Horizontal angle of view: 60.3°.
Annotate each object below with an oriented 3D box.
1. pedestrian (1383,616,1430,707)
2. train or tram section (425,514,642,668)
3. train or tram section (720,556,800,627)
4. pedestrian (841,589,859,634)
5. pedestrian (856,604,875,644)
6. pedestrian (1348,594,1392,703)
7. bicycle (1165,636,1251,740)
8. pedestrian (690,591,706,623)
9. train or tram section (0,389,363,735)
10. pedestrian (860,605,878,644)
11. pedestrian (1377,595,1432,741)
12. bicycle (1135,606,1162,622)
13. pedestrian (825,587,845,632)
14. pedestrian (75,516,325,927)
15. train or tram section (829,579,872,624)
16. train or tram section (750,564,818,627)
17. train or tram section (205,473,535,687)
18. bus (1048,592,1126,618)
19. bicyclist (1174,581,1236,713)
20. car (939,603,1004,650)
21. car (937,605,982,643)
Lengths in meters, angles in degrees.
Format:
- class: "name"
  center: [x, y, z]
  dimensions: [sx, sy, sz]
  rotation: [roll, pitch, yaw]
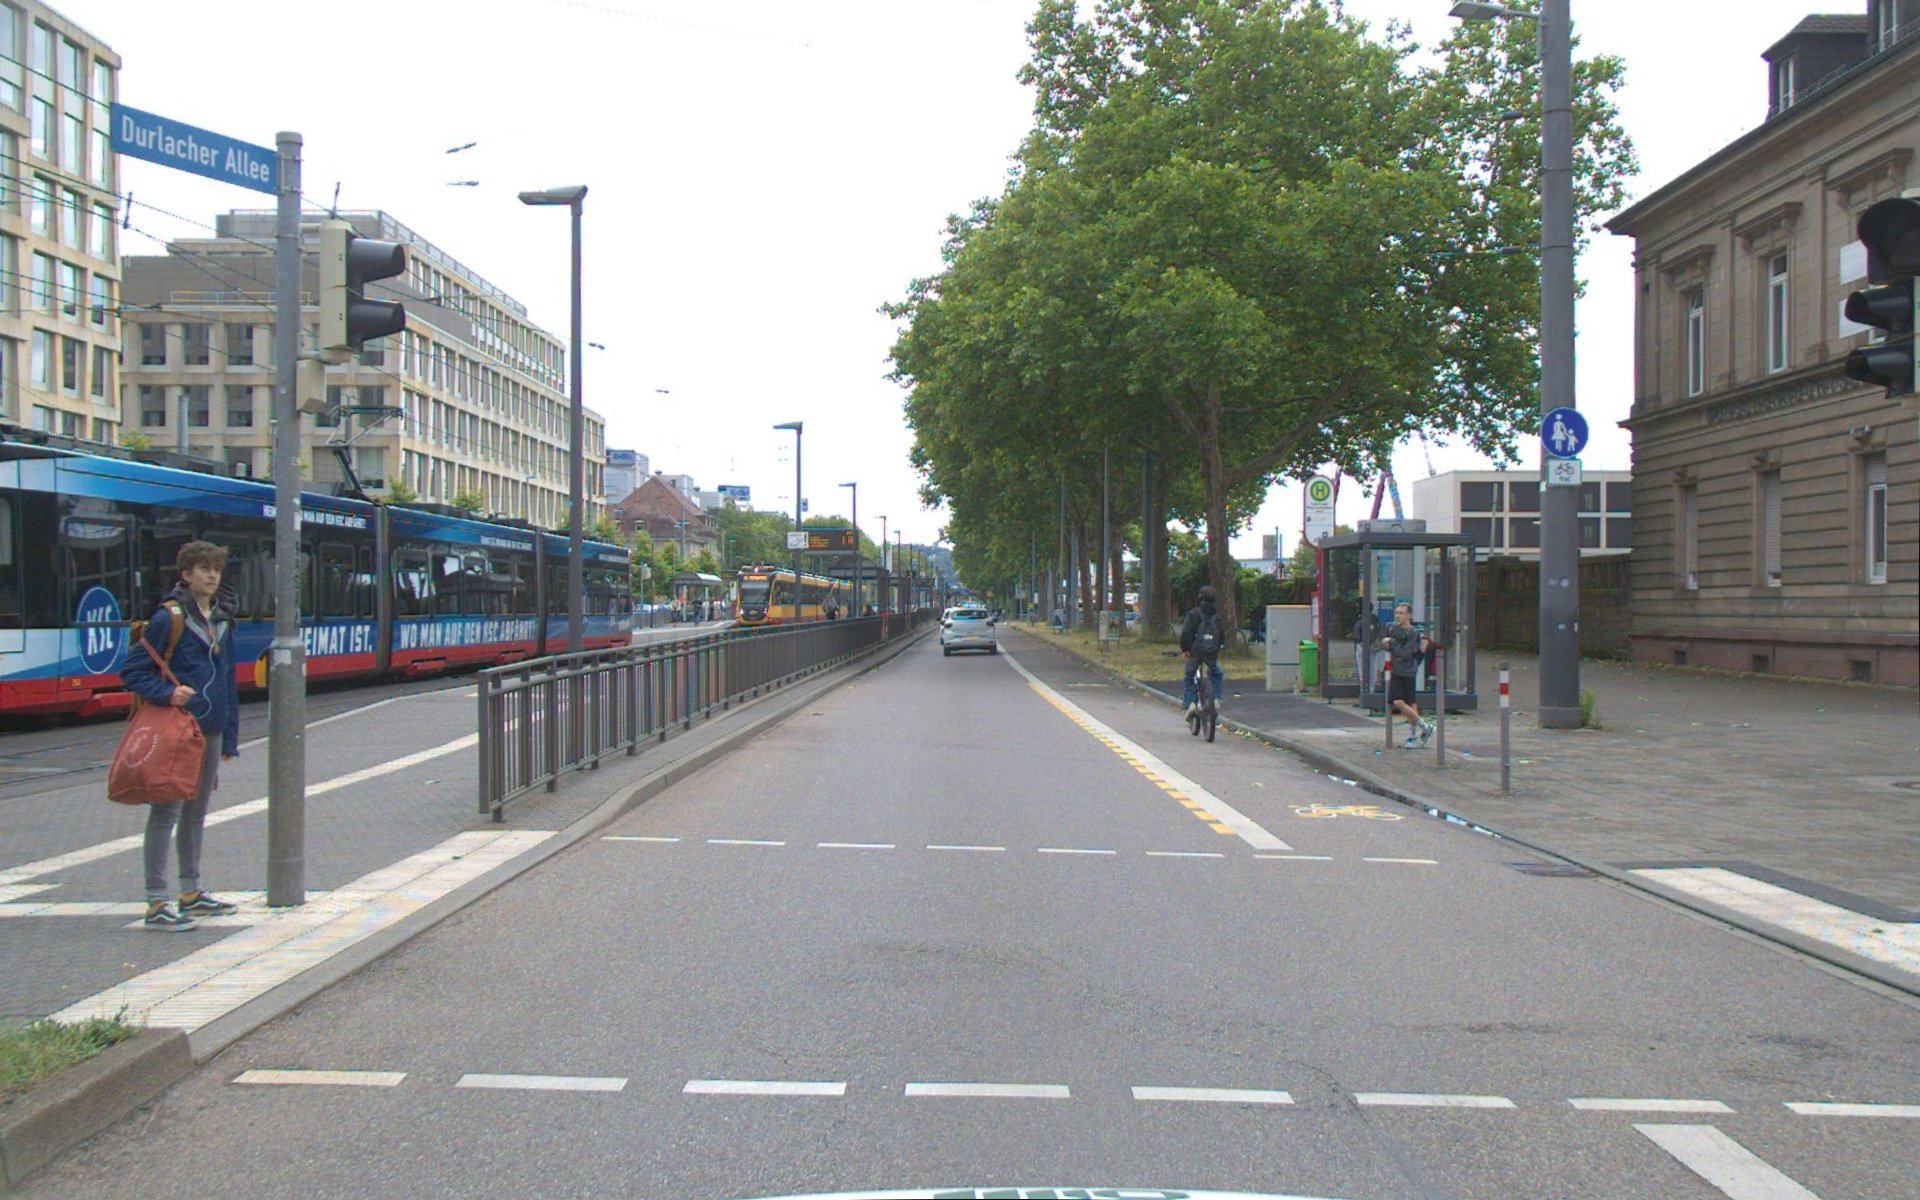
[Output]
- class: "pedestrian"
  center: [6.253, 0.852, 23.178]
  dimensions: [0.467, 1.255, 0.702]
  rotation: [0, -1, 0]
- class: "train or tram section"
  center: [-11.709, -0.114, 47.146]
  dimensions: [2.796, 3.757, 13.518]
  rotation: [0, -1, -1]
- class: "train or tram section"
  center: [-11.584, -0.391, 96.815]
  dimensions: [3.171, 3.930, 11.311]
  rotation: [0, -1, 1]
- class: "pedestrian"
  center: [-4.555, 0.466, 68.236]
  dimensions: [0.657, 1.825, 1.111]
  rotation: [0, -1, -8]
- class: "pedestrian"
  center: [-3.289, 0.839, 57.457]
  dimensions: [0.598, 1.364, 0.600]
  rotation: [0, -1, 1]
- class: "pedestrian"
  center: [6.047, 0.709, 24.422]
  dimensions: [0.467, 1.591, 0.702]
  rotation: [0, -1, 0]
- class: "bicycle"
  center: [2.965, 1.026, 19.970]
  dimensions: [0.639, 1.170, 2.282]
  rotation: [0, -1, -1]
- class: "pedestrian"
  center: [-14.788, 0.397, 93.359]
  dimensions: [0.697, 1.827, 1.160]
  rotation: [0, -1, -1]
- class: "train or tram section"
  center: [-11.734, -0.324, 22.834]
  dimensions: [2.796, 3.704, 11.763]
  rotation: [0, -1, -1]
- class: "pedestrian"
  center: [-3.231, 0.865, 58.742]
  dimensions: [0.598, 1.396, 0.600]
  rotation: [0, -1, 1]
- class: "pedestrian"
  center: [4.827, 0.729, 17.938]
  dimensions: [0.540, 1.555, 0.638]
  rotation: [-1, -1, 17]
- class: "bicycle"
  center: [13.558, 0.993, 119.261]
  dimensions: [1.851, 1.124, 0.549]
  rotation: [-2, -1, -2]
- class: "pedestrian"
  center: [-5.089, 0.397, 67.343]
  dimensions: [0.658, 1.825, 1.109]
  rotation: [0, -1, -13]
- class: "pedestrian"
  center: [-3.335, 0.502, 7.268]
  dimensions: [0.853, 1.672, 0.643]
  rotation: [1, -1, -42]
- class: "train or tram section"
  center: [-10.749, 0.247, 164.256]
  dimensions: [3.115, 4.252, 14.734]
  rotation: [0, -1, 1]
- class: "train or tram section"
  center: [-11.391, -0.196, 108.155]
  dimensions: [3.098, 3.930, 11.311]
  rotation: [0, -1, 1]
- class: "train or tram section"
  center: [-11.737, -0.258, 34.542]
  dimensions: [2.796, 3.704, 11.697]
  rotation: [0, -1, -1]
- class: "bus"
  center: [15.124, 0.576, 197.035]
  dimensions: [9.090, 3.012, 1.999]
  rotation: [0, -1, -2]
- class: "bicyclist"
  center: [2.953, 0.564, 19.987]
  dimensions: [0.628, 1.558, 0.664]
  rotation: [0, -1, -2]
- class: "car"
  center: [0.414, 0.873, 54.145]
  dimensions: [1.846, 1.478, 4.002]
  rotation: [0, -1, 4]
- class: "car"
  center: [0.019, 1.006, 70.758]
  dimensions: [1.802, 1.579, 4.001]
  rotation: [0, 0, 2]
